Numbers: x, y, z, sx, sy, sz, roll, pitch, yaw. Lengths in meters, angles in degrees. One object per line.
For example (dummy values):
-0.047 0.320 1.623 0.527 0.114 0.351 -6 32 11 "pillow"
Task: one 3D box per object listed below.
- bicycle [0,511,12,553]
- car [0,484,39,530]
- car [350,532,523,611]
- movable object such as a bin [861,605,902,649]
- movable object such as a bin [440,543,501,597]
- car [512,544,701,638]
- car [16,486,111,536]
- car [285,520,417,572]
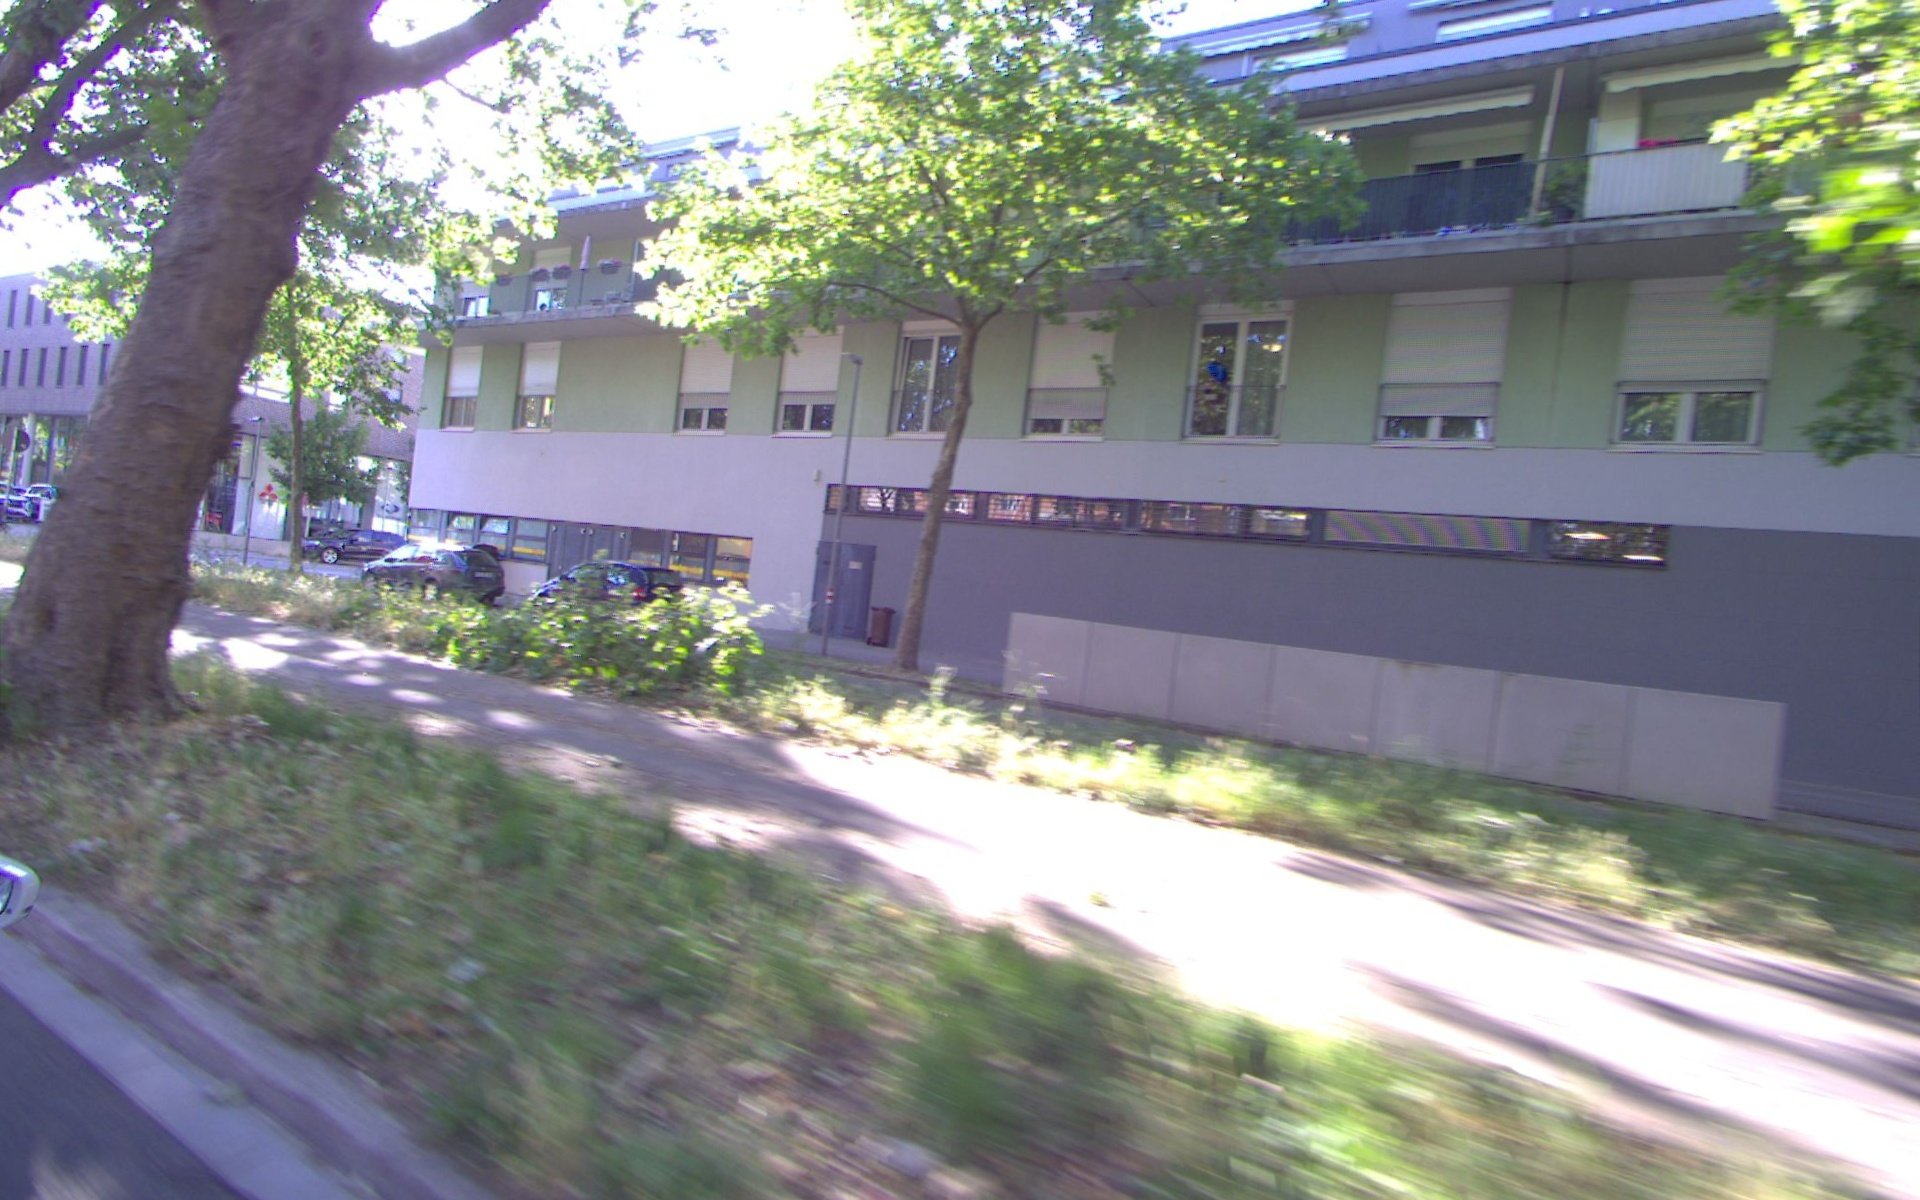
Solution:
-24.498 -1.779 25.143 1.458 1.016 0.384 7 1 14 "bicycle"
-41.578 -4.140 43.023 4.108 1.755 1.879 7 0 28 "car"
-13.175 -0.726 25.287 4.053 1.486 1.862 7 0 29 "car"
-1.861 0.650 23.862 0.652 0.955 0.629 7 1 31 "movable object such as a bin"
-15.538 -0.950 31.914 1.388 1.481 1.191 7 0 42 "movable object such as a bin"
-7.722 -0.204 21.932 3.697 1.572 1.861 7 0 31 "car"
-40.202 -3.998 45.100 4.111 1.755 1.988 7 0 31 "car"
-26.659 -2.331 44.182 1.995 1.683 4.490 7 0 28 "car"
